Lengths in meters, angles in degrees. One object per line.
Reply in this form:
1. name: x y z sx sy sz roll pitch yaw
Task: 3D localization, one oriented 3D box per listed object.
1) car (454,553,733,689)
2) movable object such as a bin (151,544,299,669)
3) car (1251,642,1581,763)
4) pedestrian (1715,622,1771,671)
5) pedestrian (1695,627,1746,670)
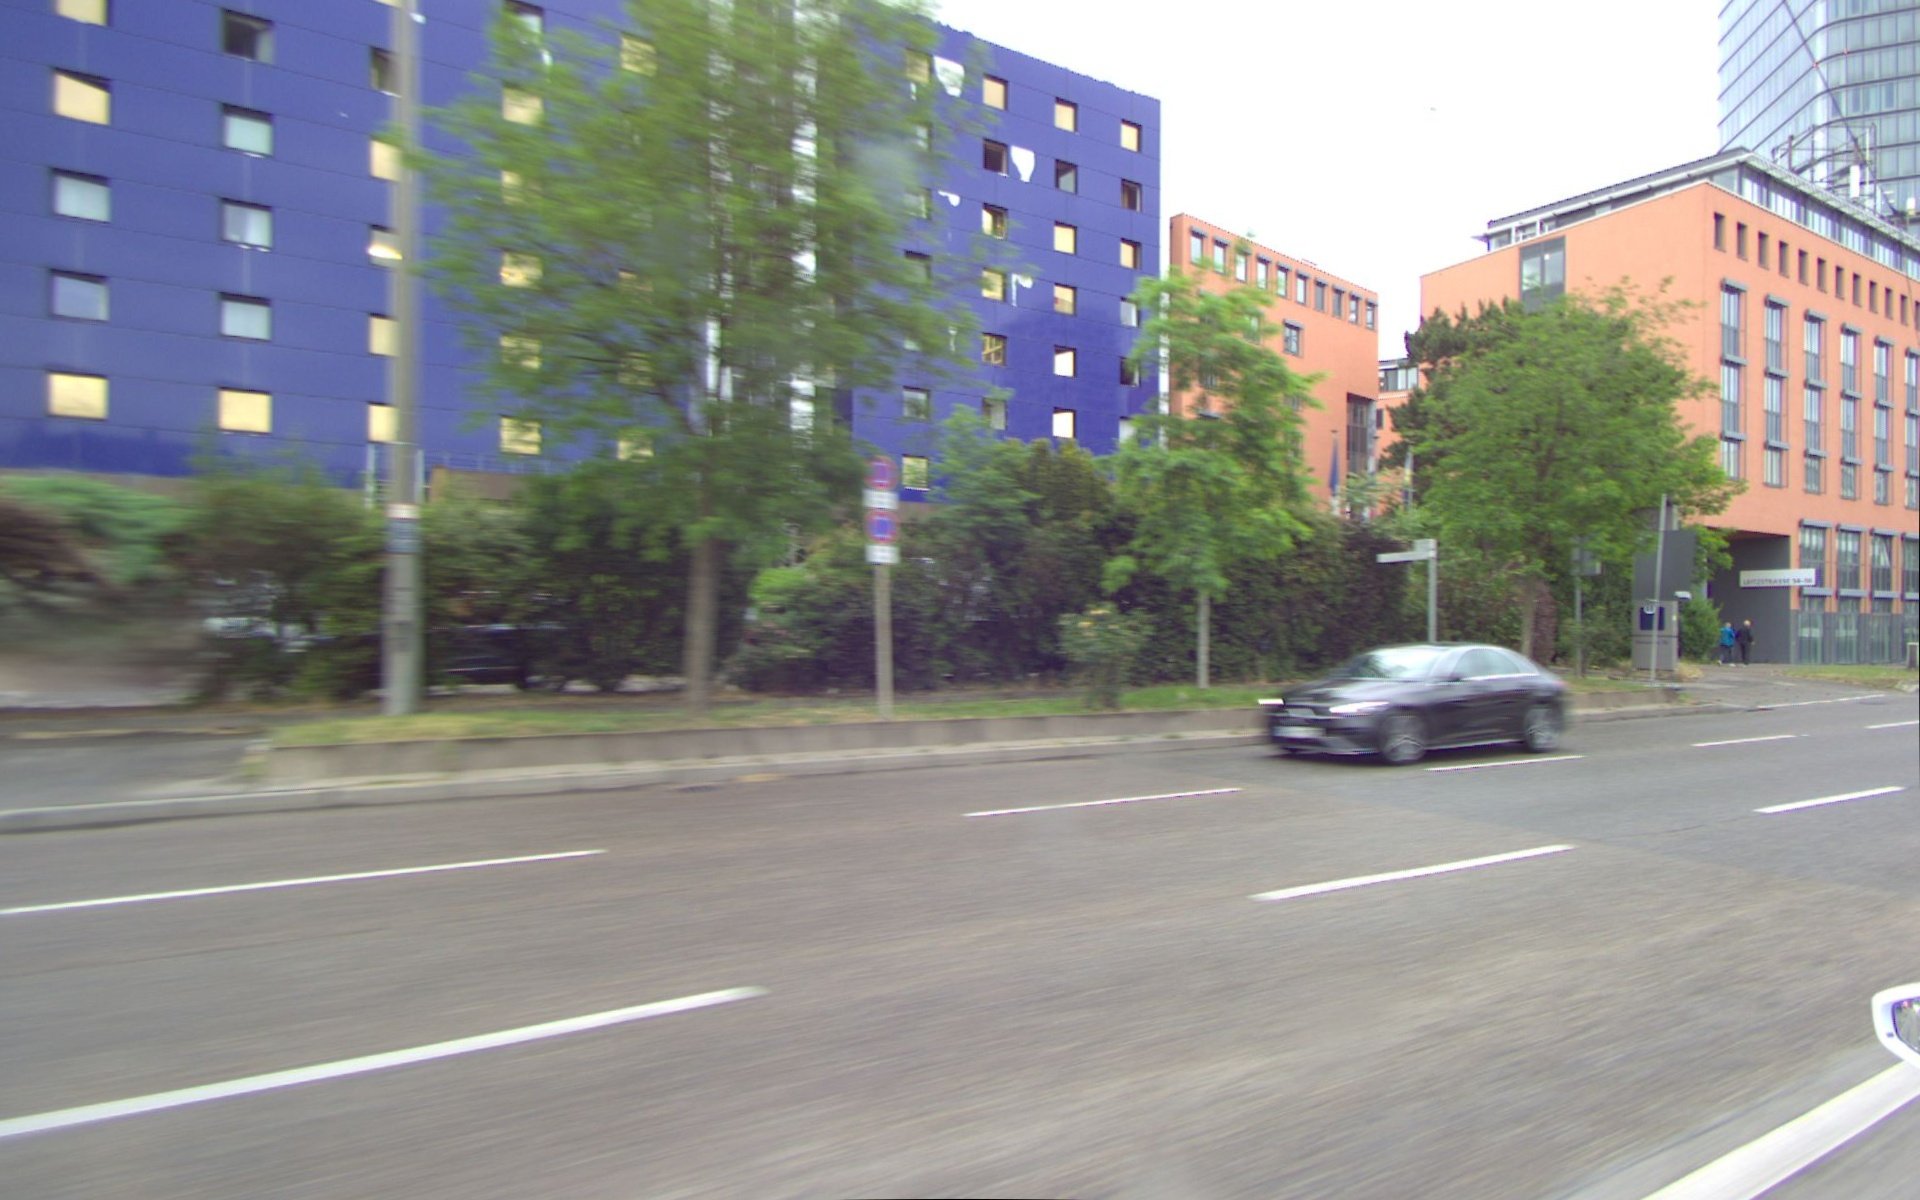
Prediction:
1. car: -6.368 0.468 17.582 4.266 2.039 1.828 4 -5 -30
2. movable object such as a bin: -17.866 0.316 24.737 2.136 2.661 5.601 4 -5 -29
3. car: 5.981 1.224 13.044 4.392 1.341 1.614 1 -3 -29
4. pedestrian: 31.435 1.881 40.337 1.422 1.847 1.309 4 -5 -30
5. pedestrian: 31.029 1.984 40.989 1.403 1.700 1.201 4 -5 -30
